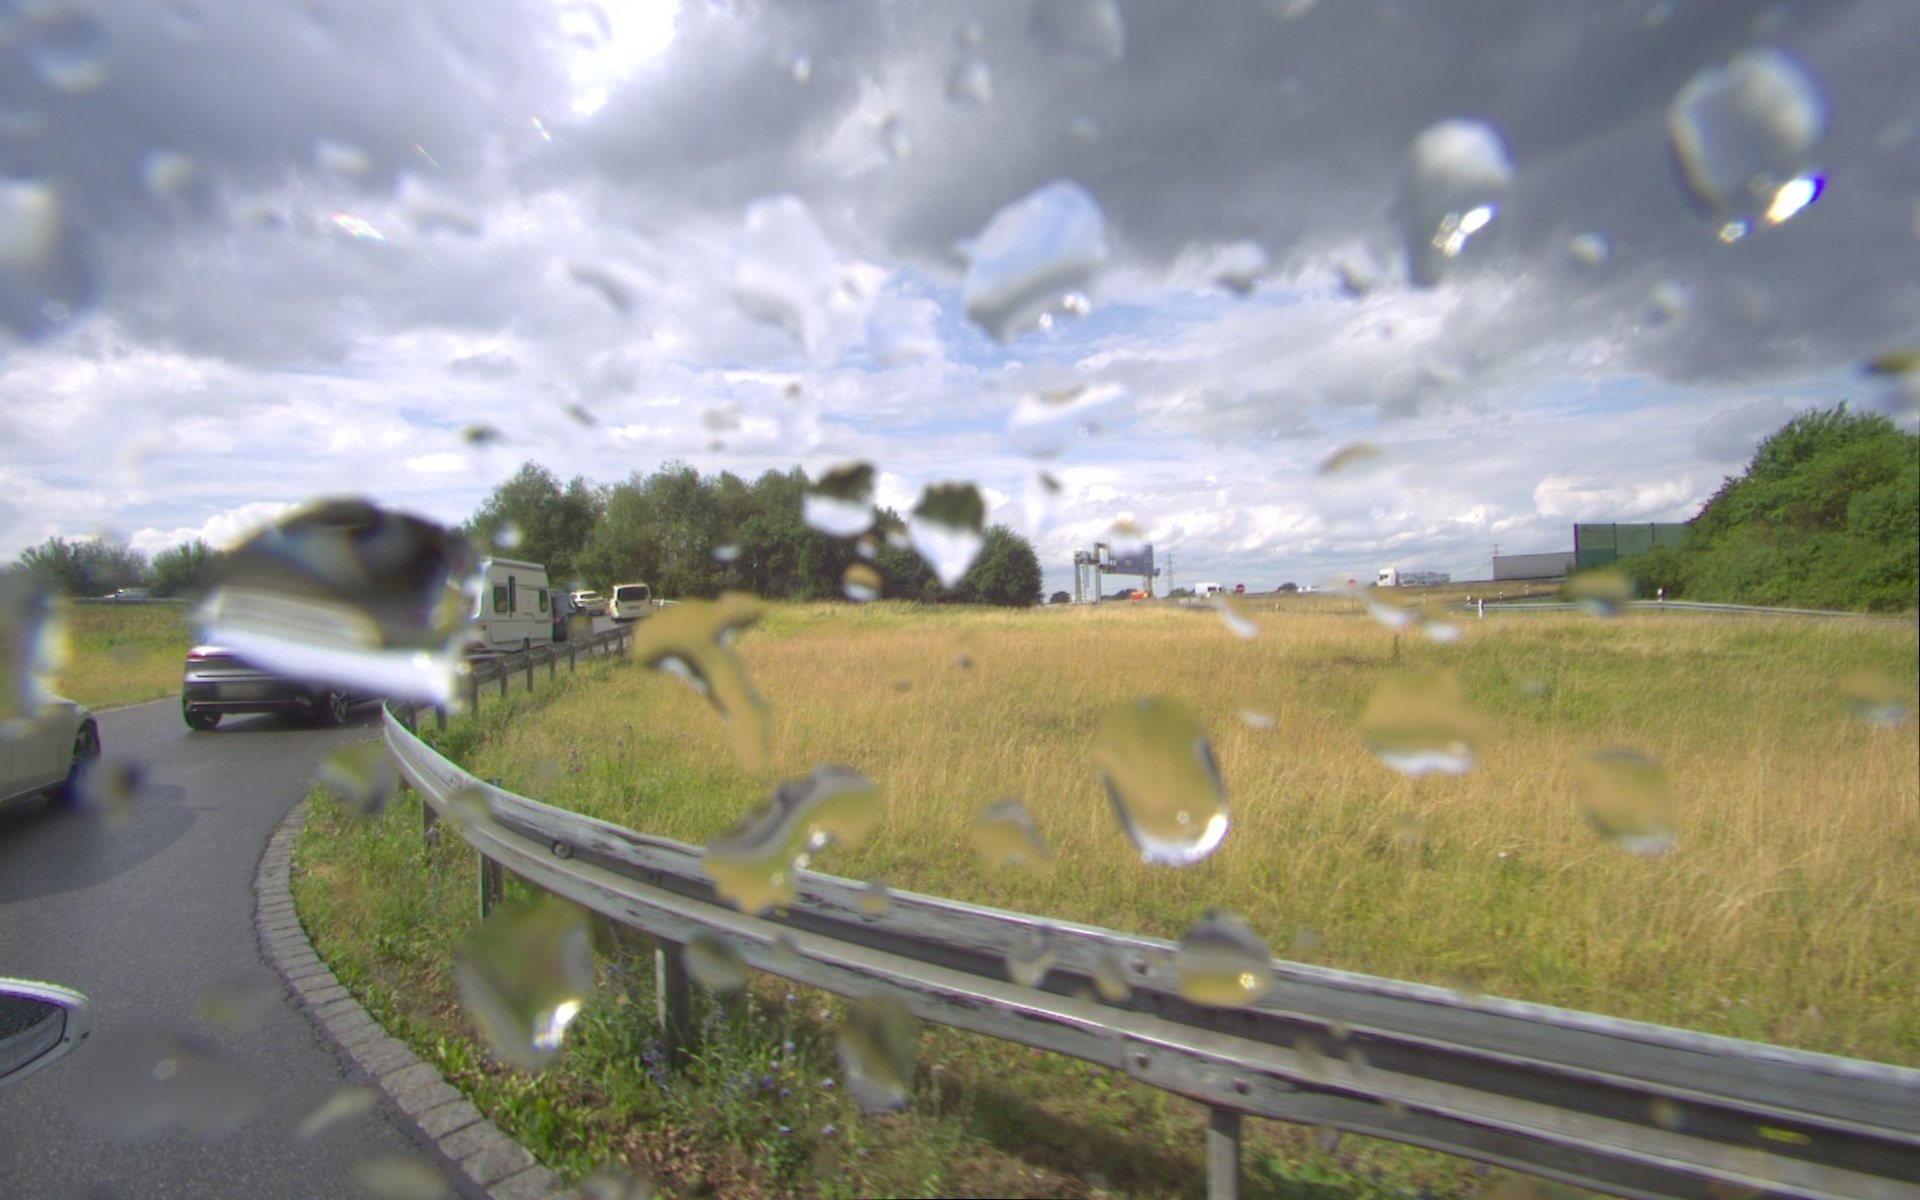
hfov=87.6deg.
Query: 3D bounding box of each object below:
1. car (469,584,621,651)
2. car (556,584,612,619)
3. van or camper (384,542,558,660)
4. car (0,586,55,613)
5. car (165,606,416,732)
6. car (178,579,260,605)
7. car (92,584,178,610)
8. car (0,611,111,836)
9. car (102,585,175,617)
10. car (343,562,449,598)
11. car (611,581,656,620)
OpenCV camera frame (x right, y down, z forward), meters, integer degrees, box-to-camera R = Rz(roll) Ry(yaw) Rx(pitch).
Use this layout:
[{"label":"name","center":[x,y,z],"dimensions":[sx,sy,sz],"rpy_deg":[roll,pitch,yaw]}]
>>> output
[{"label":"car","center":[-13.108,0.516,32.145],"dimensions":[2.388,1.951,5.760],"rpy_deg":[-1,0,1]},{"label":"car","center":[-22.800,0.135,60.626],"dimensions":[1.975,1.885,5.023],"rpy_deg":[3,-3,-35]},{"label":"van or camper","center":[-12.725,0.067,26.625],"dimensions":[2.392,2.765,5.999],"rpy_deg":[0,-1,-8]},{"label":"car","center":[-73.875,-0.008,77.721],"dimensions":[4.964,1.886,1.998],"rpy_deg":[-2,0,-13]},{"label":"car","center":[-9.581,0.886,14.726],"dimensions":[1.692,1.545,3.996],"rpy_deg":[-1,0,-13]},{"label":"car","center":[-59.310,-0.607,80.200],"dimensions":[4.959,1.886,2.000],"rpy_deg":[-2,0,-2]},{"label":"car","center":[-65.727,-0.241,79.863],"dimensions":[4.959,1.886,2.000],"rpy_deg":[-2,0,-4]},{"label":"car","center":[-7.469,0.819,6.606],"dimensions":[1.894,1.526,4.575],"rpy_deg":[2,-2,-28]},{"label":"car","center":[-65.470,0.128,79.845],"dimensions":[3.924,2.038,2.001],"rpy_deg":[-6,-2,-5]},{"label":"car","center":[-43.726,-1.512,77.708],"dimensions":[6.850,2.630,2.873],"rpy_deg":[-1,1,8]},{"label":"car","center":[-16.925,0.070,51.770],"dimensions":[1.966,1.886,5.045],"rpy_deg":[-2,0,-21]}]
